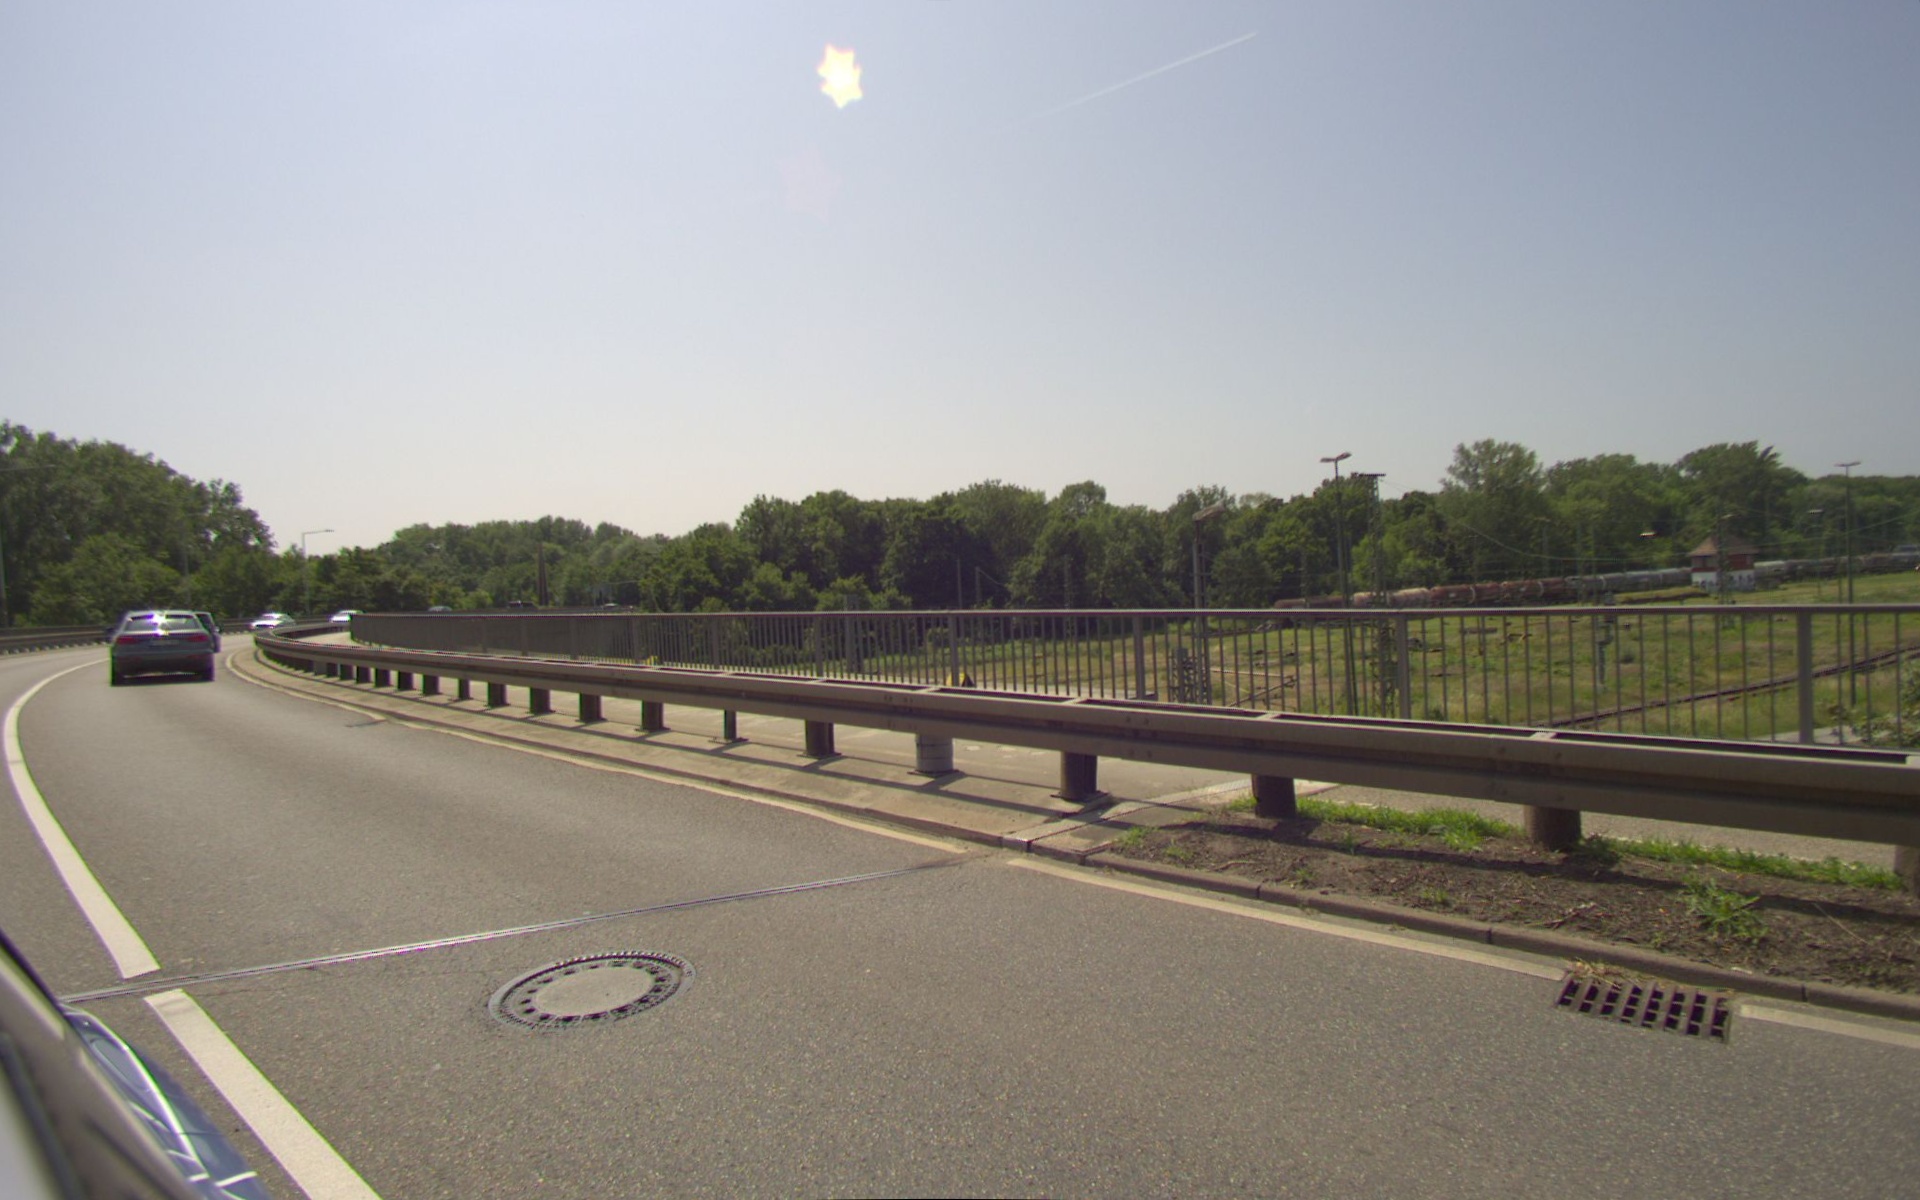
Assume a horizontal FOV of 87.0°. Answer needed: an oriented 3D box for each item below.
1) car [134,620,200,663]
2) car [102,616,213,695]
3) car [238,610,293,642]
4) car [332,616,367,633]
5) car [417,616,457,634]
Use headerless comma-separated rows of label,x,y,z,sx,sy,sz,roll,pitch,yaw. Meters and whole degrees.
car,-29.660,1.534,37.898,1.575,1.497,2.756,-2,0,-31
car,-18.211,1.214,22.928,1.800,1.548,4.202,-2,0,-40
car,-48.001,1.792,70.031,1.966,2.029,4.012,-2,0,-17
car,-52.134,2.066,86.458,1.521,1.364,3.587,-2,0,-14
car,-52.094,2.498,100.839,1.870,1.608,4.491,-3,0,-4
